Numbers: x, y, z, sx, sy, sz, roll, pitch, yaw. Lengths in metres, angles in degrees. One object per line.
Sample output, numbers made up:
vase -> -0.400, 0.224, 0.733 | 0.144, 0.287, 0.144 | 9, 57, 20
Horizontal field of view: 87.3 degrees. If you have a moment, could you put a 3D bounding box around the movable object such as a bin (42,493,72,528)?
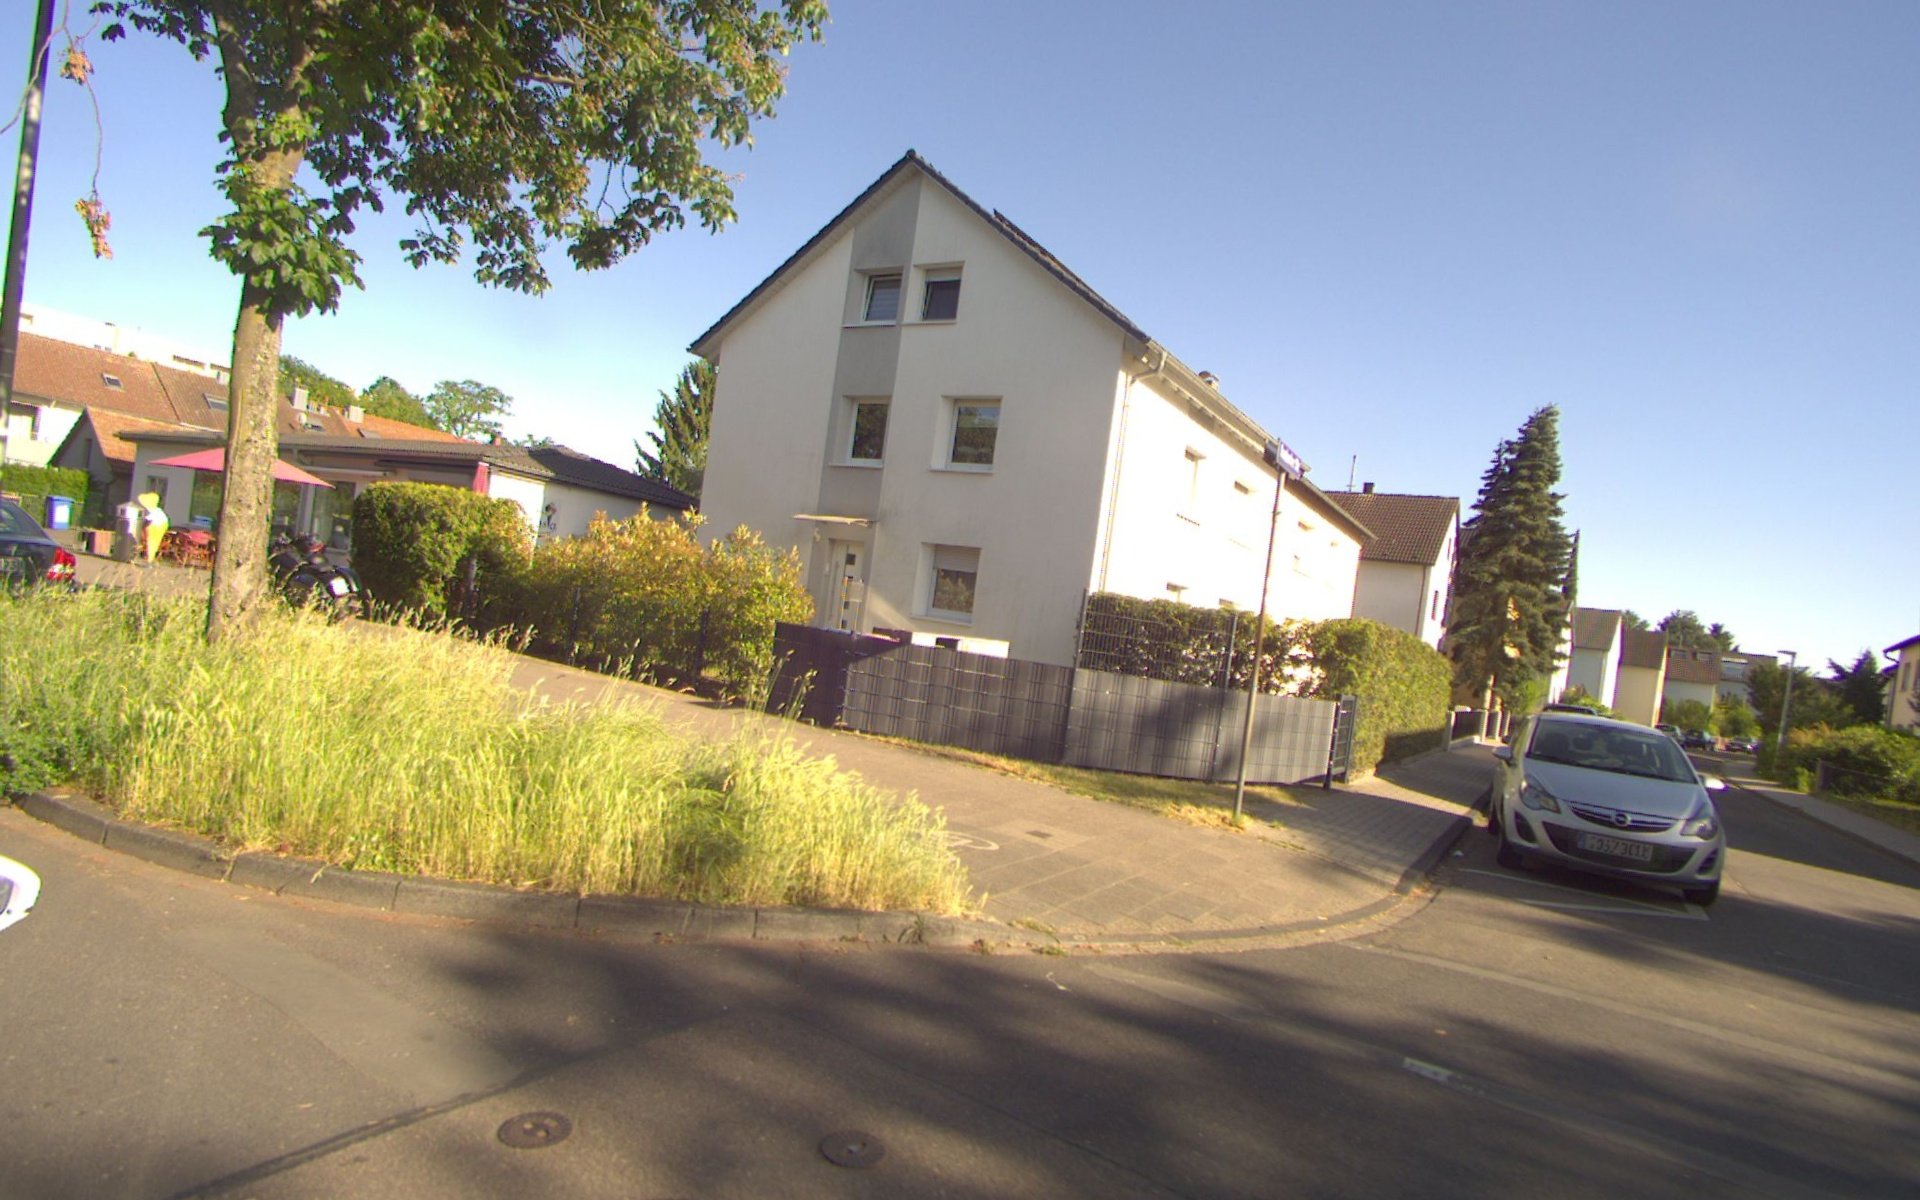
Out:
movable object such as a bin -> -29.023, -2.871, 32.331 | 0.734, 1.045, 0.493 | 7, 2, 31

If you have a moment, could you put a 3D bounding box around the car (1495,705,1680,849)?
car -> 8.810, 2.376, 14.327 | 1.818, 1.461, 3.755 | 8, -1, 30

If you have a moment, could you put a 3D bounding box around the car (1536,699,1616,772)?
car -> 17.110, 3.715, 28.067 | 1.620, 1.627, 3.691 | 8, -1, 30

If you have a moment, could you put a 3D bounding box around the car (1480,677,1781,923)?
car -> 6.351, 1.744, 10.017 | 1.745, 1.659, 3.998 | 8, -1, 26

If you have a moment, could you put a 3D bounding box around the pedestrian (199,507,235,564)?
pedestrian -> -19.429, -1.694, 26.308 | 0.629, 1.400, 0.440 | 7, -2, 37

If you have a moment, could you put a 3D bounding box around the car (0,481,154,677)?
car -> -10.318, -0.459, 9.825 | 4.304, 1.638, 2.002 | 8, -4, 26

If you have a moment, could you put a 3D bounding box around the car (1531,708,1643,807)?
car -> 11.095, 2.715, 17.962 | 1.398, 1.338, 3.829 | 8, -1, 30

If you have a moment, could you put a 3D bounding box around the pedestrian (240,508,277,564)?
pedestrian -> -18.906, -1.726, 27.115 | 0.657, 1.427, 0.489 | 6, 1, -30

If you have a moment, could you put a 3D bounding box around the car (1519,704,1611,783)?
car -> 14.502, 3.382, 24.204 | 1.620, 1.474, 3.691 | 8, -1, 30

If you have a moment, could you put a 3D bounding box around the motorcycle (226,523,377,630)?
motorcycle -> -9.476, -0.351, 14.444 | 2.312, 1.242, 0.818 | 8, 1, 32
